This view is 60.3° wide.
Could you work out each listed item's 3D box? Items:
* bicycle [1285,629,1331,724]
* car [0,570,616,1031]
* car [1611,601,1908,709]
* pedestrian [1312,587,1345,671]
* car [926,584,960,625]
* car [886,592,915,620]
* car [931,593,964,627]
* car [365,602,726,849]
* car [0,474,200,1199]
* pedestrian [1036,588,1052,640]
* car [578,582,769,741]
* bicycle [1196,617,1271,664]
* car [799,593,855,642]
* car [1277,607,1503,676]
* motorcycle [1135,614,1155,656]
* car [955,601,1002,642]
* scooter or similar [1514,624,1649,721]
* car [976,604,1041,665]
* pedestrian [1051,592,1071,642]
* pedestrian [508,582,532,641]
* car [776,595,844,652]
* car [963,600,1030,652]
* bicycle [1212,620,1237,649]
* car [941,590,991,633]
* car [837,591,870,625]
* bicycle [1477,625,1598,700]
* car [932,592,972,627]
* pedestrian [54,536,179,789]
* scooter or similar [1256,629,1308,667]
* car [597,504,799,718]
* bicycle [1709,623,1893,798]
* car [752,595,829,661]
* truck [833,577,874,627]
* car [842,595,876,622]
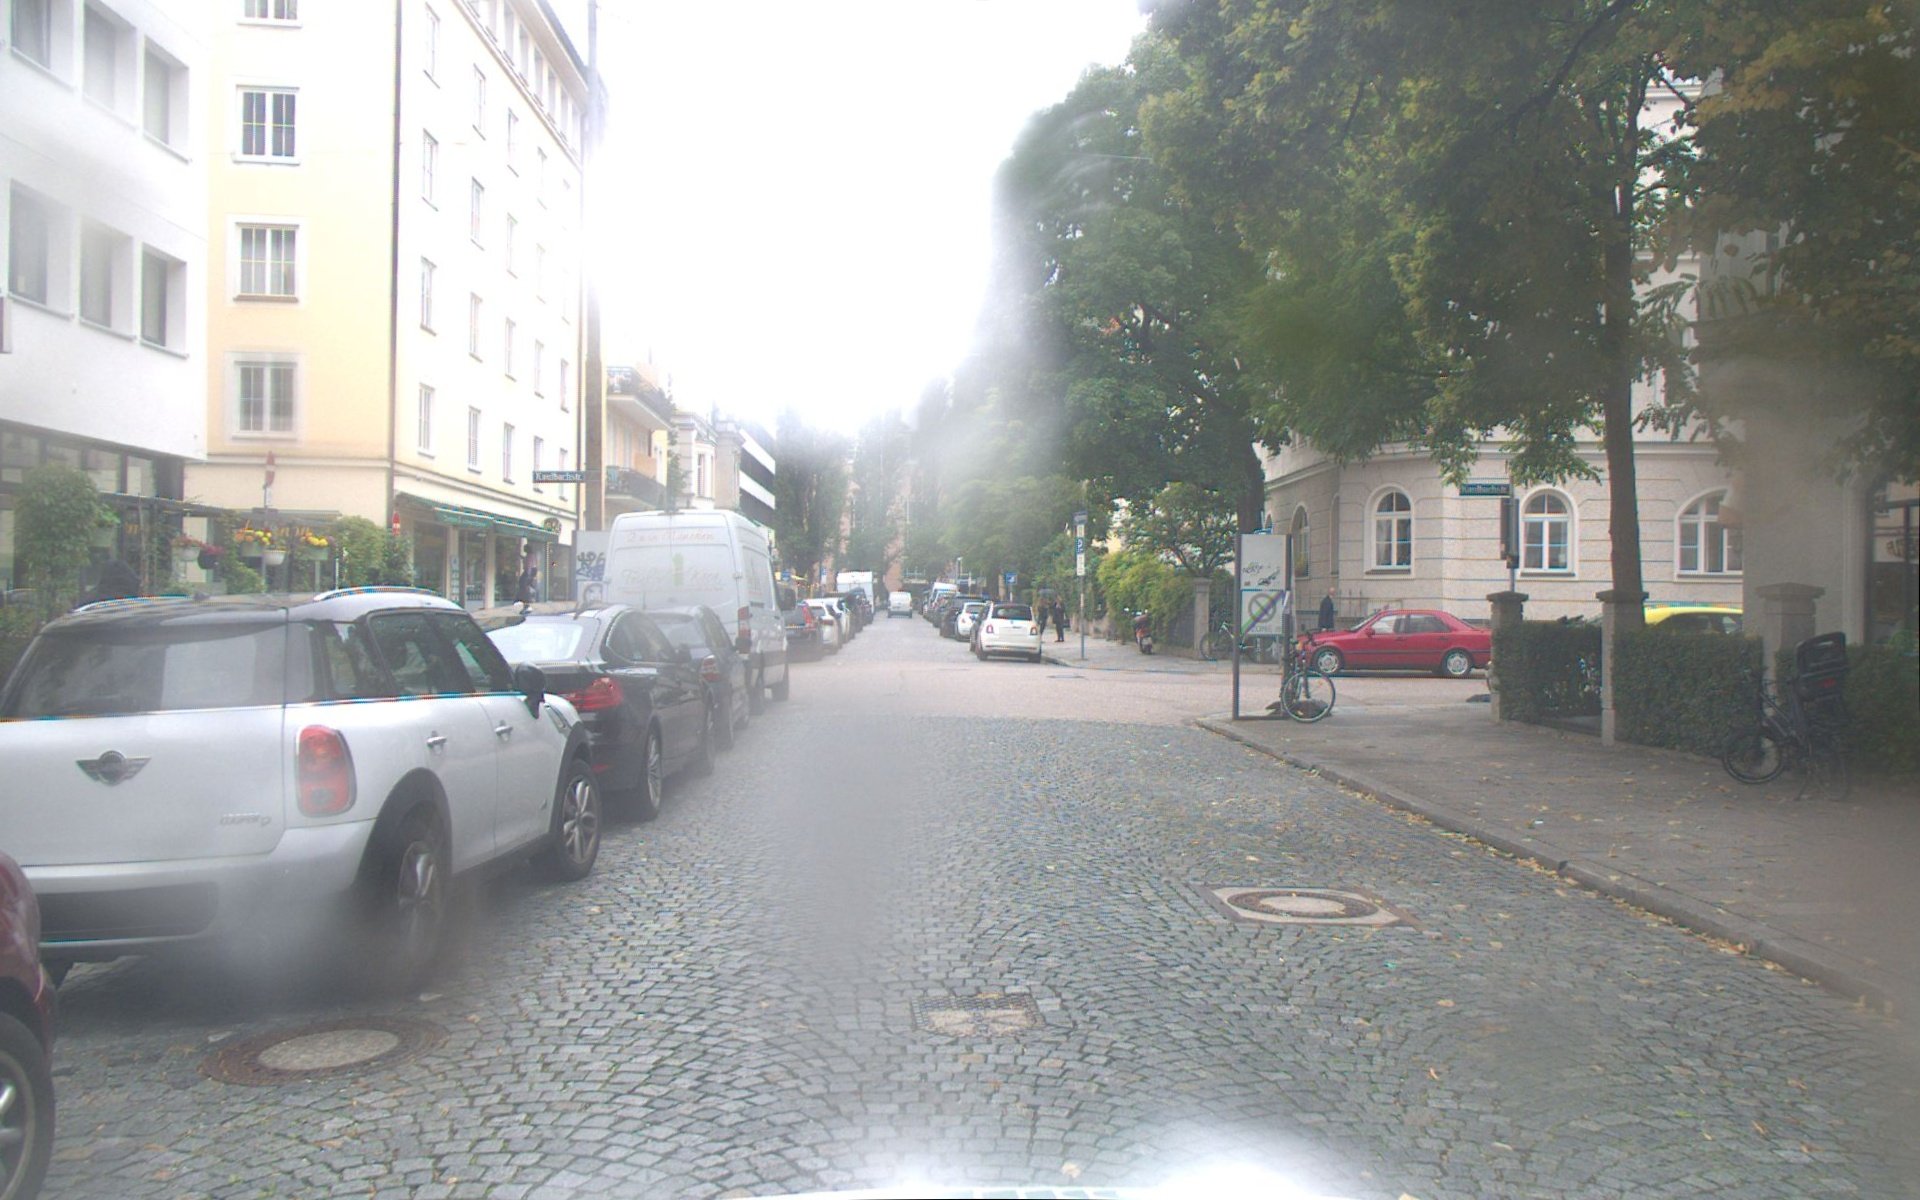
[{"bbox_3d":[4.476,0.960,21.321,0.380,1.167,1.590,0,-1,5],"label":"bicycle"},{"bbox_3d":[-2.809,0.685,7.460,1.658,1.530,3.777,1,0,1],"label":"car"},{"bbox_3d":[12.991,0.870,27.101,3.987,1.625,1.907,1,-1,9],"label":"car"},{"bbox_3d":[8.488,0.655,38.122,0.484,1.909,0.741,1,-1,-7],"label":"pedestrian"},{"bbox_3d":[-1.138,0.250,108.551,1.857,2.468,5.608,4,0,-3],"label":"car"},{"bbox_3d":[-4.286,0.444,119.472,1.956,1.970,3.999,1,0,-1],"label":"car"},{"bbox_3d":[-0.822,0.601,103.160,1.764,1.983,4.857,3,-1,-3],"label":"car"},{"bbox_3d":[-2.915,0.788,12.612,1.691,1.490,4.471,-2,0,-1],"label":"car"},{"bbox_3d":[-2.810,0.614,2.451,1.683,1.753,3.897,-1,0,-2],"label":"car"},{"bbox_3d":[3.087,0.518,60.905,0.564,1.882,0.682,0,0,0],"label":"pedestrian"},{"bbox_3d":[-2.987,0.605,17.935,1.629,1.508,3.978,1,0,-4],"label":"car"},{"bbox_3d":[6.692,0.983,40.433,1.798,1.144,0.563,0,0,11],"label":"bicycle"},{"bbox_3d":[-4.790,0.617,59.966,1.738,1.676,4.389,1,0,-1],"label":"car"},{"bbox_3d":[8.984,0.848,34.836,4.373,1.382,1.761,0,0,5],"label":"car"},{"bbox_3d":[4.989,0.923,44.653,0.355,1.109,1.403,1,-1,0],"label":"motorcycle"},{"bbox_3d":[0.692,0.824,64.264,1.597,1.495,3.657,3,-1,-2],"label":"car"},{"bbox_3d":[7.836,0.901,20.877,1.569,1.193,0.405,0,-1,21],"label":"scooter or similar"},{"bbox_3d":[1.257,0.890,43.865,1.471,1.497,3.794,3,-1,-1],"label":"car"},{"bbox_3d":[3.741,0.624,61.331,0.616,1.840,0.659,1,-1,-6],"label":"pedestrian"},{"bbox_3d":[-12.639,0.332,47.528,0.511,1.671,0.629,1,-1,-3],"label":"pedestrian"},{"bbox_3d":[-4.344,0.650,48.496,1.738,1.563,4.538,0,0,-2],"label":"car"},{"bbox_3d":[1.077,0.785,51.148,1.615,1.446,4.629,4,-1,-3],"label":"car"},{"bbox_3d":[8.071,1.047,50.502,0.481,0.826,2.274,1,0,2],"label":"bicycle"},{"bbox_3d":[0.224,0.481,69.469,1.837,1.702,5.488,1,0,-2],"label":"car"},{"bbox_3d":[-5.785,0.432,90.289,1.738,1.748,4.388,1,0,-3],"label":"car"},{"bbox_3d":[8.889,0.971,25.490,1.568,1.088,0.739,-1,-4,0],"label":"bicycle"},{"bbox_3d":[-0.466,0.517,90.282,1.924,1.789,4.951,1,0,-3],"label":"car"},{"bbox_3d":[-6.466,0.467,12.716,0.602,1.872,0.812,1,-1,-9],"label":"pedestrian"},{"bbox_3d":[7.665,1.140,39.424,1.158,0.863,0.925,1,-1,7],"label":"scooter or similar"},{"bbox_3d":[-3.535,0.152,23.442,1.937,2.619,5.793,-1,0,0],"label":"car"},{"bbox_3d":[6.445,0.804,12.767,0.419,1.219,1.730,-4,0,-1],"label":"bicycle"},{"bbox_3d":[-4.411,0.714,43.606,1.815,1.614,4.744,1,0,-4],"label":"car"},{"bbox_3d":[-6.880,0.071,107.133,2.458,3.084,6.380,-1,0,-3],"label":"truck"},{"bbox_3d":[-5.844,0.502,95.848,1.901,1.485,4.055,1,0,-3],"label":"car"}]
